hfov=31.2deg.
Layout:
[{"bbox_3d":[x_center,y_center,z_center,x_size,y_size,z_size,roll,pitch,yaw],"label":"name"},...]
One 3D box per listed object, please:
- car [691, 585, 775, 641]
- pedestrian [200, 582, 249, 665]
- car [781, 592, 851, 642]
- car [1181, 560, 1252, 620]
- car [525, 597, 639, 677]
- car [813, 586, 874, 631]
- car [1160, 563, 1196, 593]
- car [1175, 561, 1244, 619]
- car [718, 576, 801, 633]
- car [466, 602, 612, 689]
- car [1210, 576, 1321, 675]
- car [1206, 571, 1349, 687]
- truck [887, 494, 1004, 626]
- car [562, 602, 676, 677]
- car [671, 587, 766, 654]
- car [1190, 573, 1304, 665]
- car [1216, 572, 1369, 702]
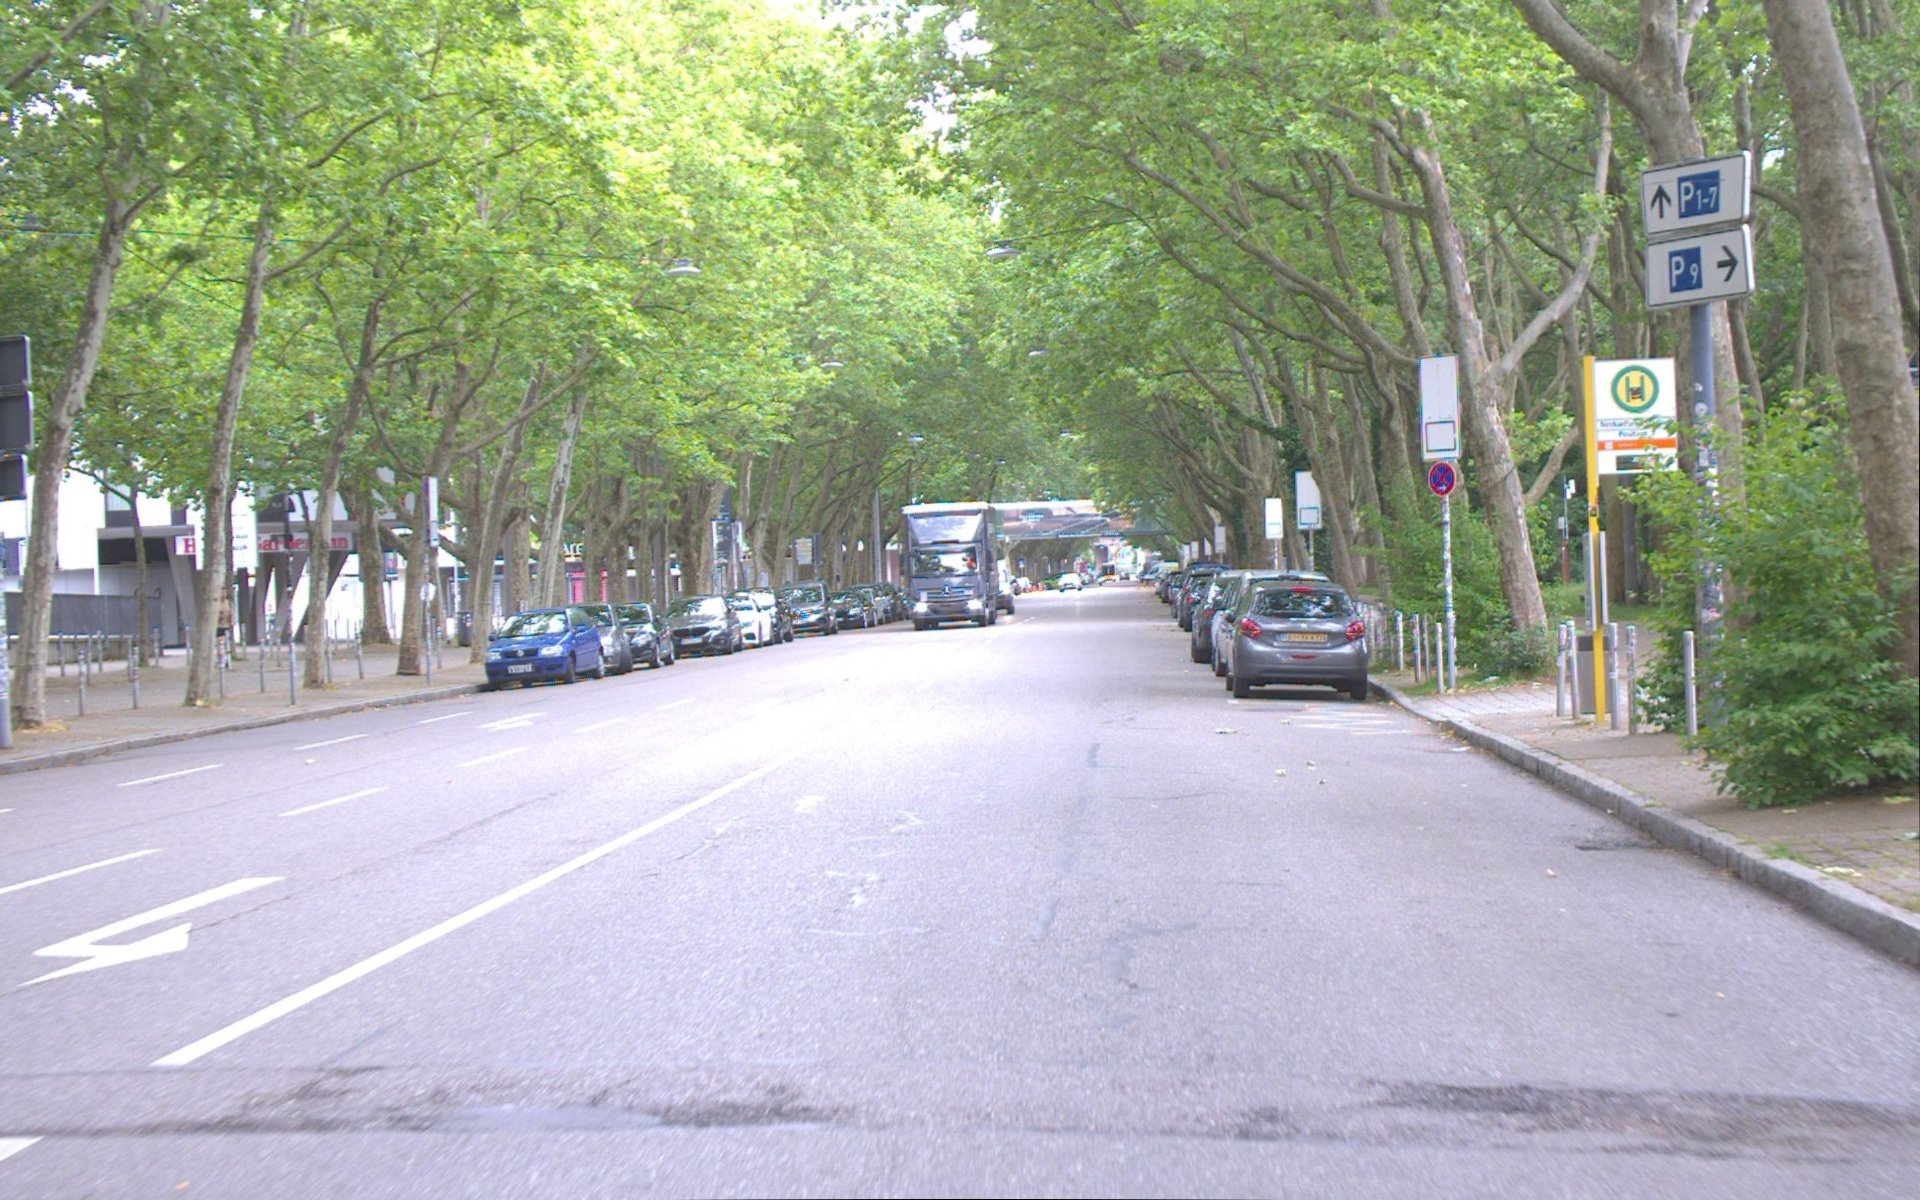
[{"bbox_3d":[-5.919,0.353,89.960,1.732,1.328,3.999,-3,-1,2],"label":"car"},{"bbox_3d":[-16.516,0.517,77.229,0.770,1.828,0.879,-2,1,-31],"label":"pedestrian"},{"bbox_3d":[-4.589,0.557,109.983,1.895,1.433,3.999,-3,-1,1],"label":"car"},{"bbox_3d":[6.735,-0.278,90.574,1.756,1.529,3.929,0,0,3],"label":"car"},{"bbox_3d":[-7.452,0.737,68.091,1.765,1.414,3.761,-5,-1,0],"label":"car"},{"bbox_3d":[-4.135,0.320,122.379,1.895,1.433,3.999,-3,-1,1],"label":"car"},{"bbox_3d":[11.005,-1.113,173.579,1.756,1.529,3.929,0,0,3],"label":"car"},{"bbox_3d":[6.985,-0.291,96.564,1.756,1.529,3.929,-2,0,3],"label":"car"},{"bbox_3d":[-5.559,0.141,95.662,1.895,1.433,3.999,-3,-1,1],"label":"car"},{"bbox_3d":[-7.713,0.819,63.320,1.695,1.414,3.760,-5,-1,7],"label":"car"},{"bbox_3d":[4.891,0.384,55.225,1.676,1.485,3.686,2,0,5],"label":"car"},{"bbox_3d":[4.591,0.388,50.162,1.719,1.562,4.094,2,0,1],"label":"car"},{"bbox_3d":[-0.382,-1.250,109.350,2.641,3.888,9.538,-3,0,5],"label":"truck"},{"bbox_3d":[-7.175,0.829,72.638,1.766,1.414,3.761,-5,-1,2],"label":"car"},{"bbox_3d":[-5.786,0.497,82.701,1.766,1.414,3.761,-5,-1,2],"label":"car"},{"bbox_3d":[4.953,0.303,59.766,1.756,1.485,4.416,2,0,3],"label":"car"},{"bbox_3d":[4.248,0.435,44.434,1.699,1.514,4.453,2,1,3],"label":"car"}]
